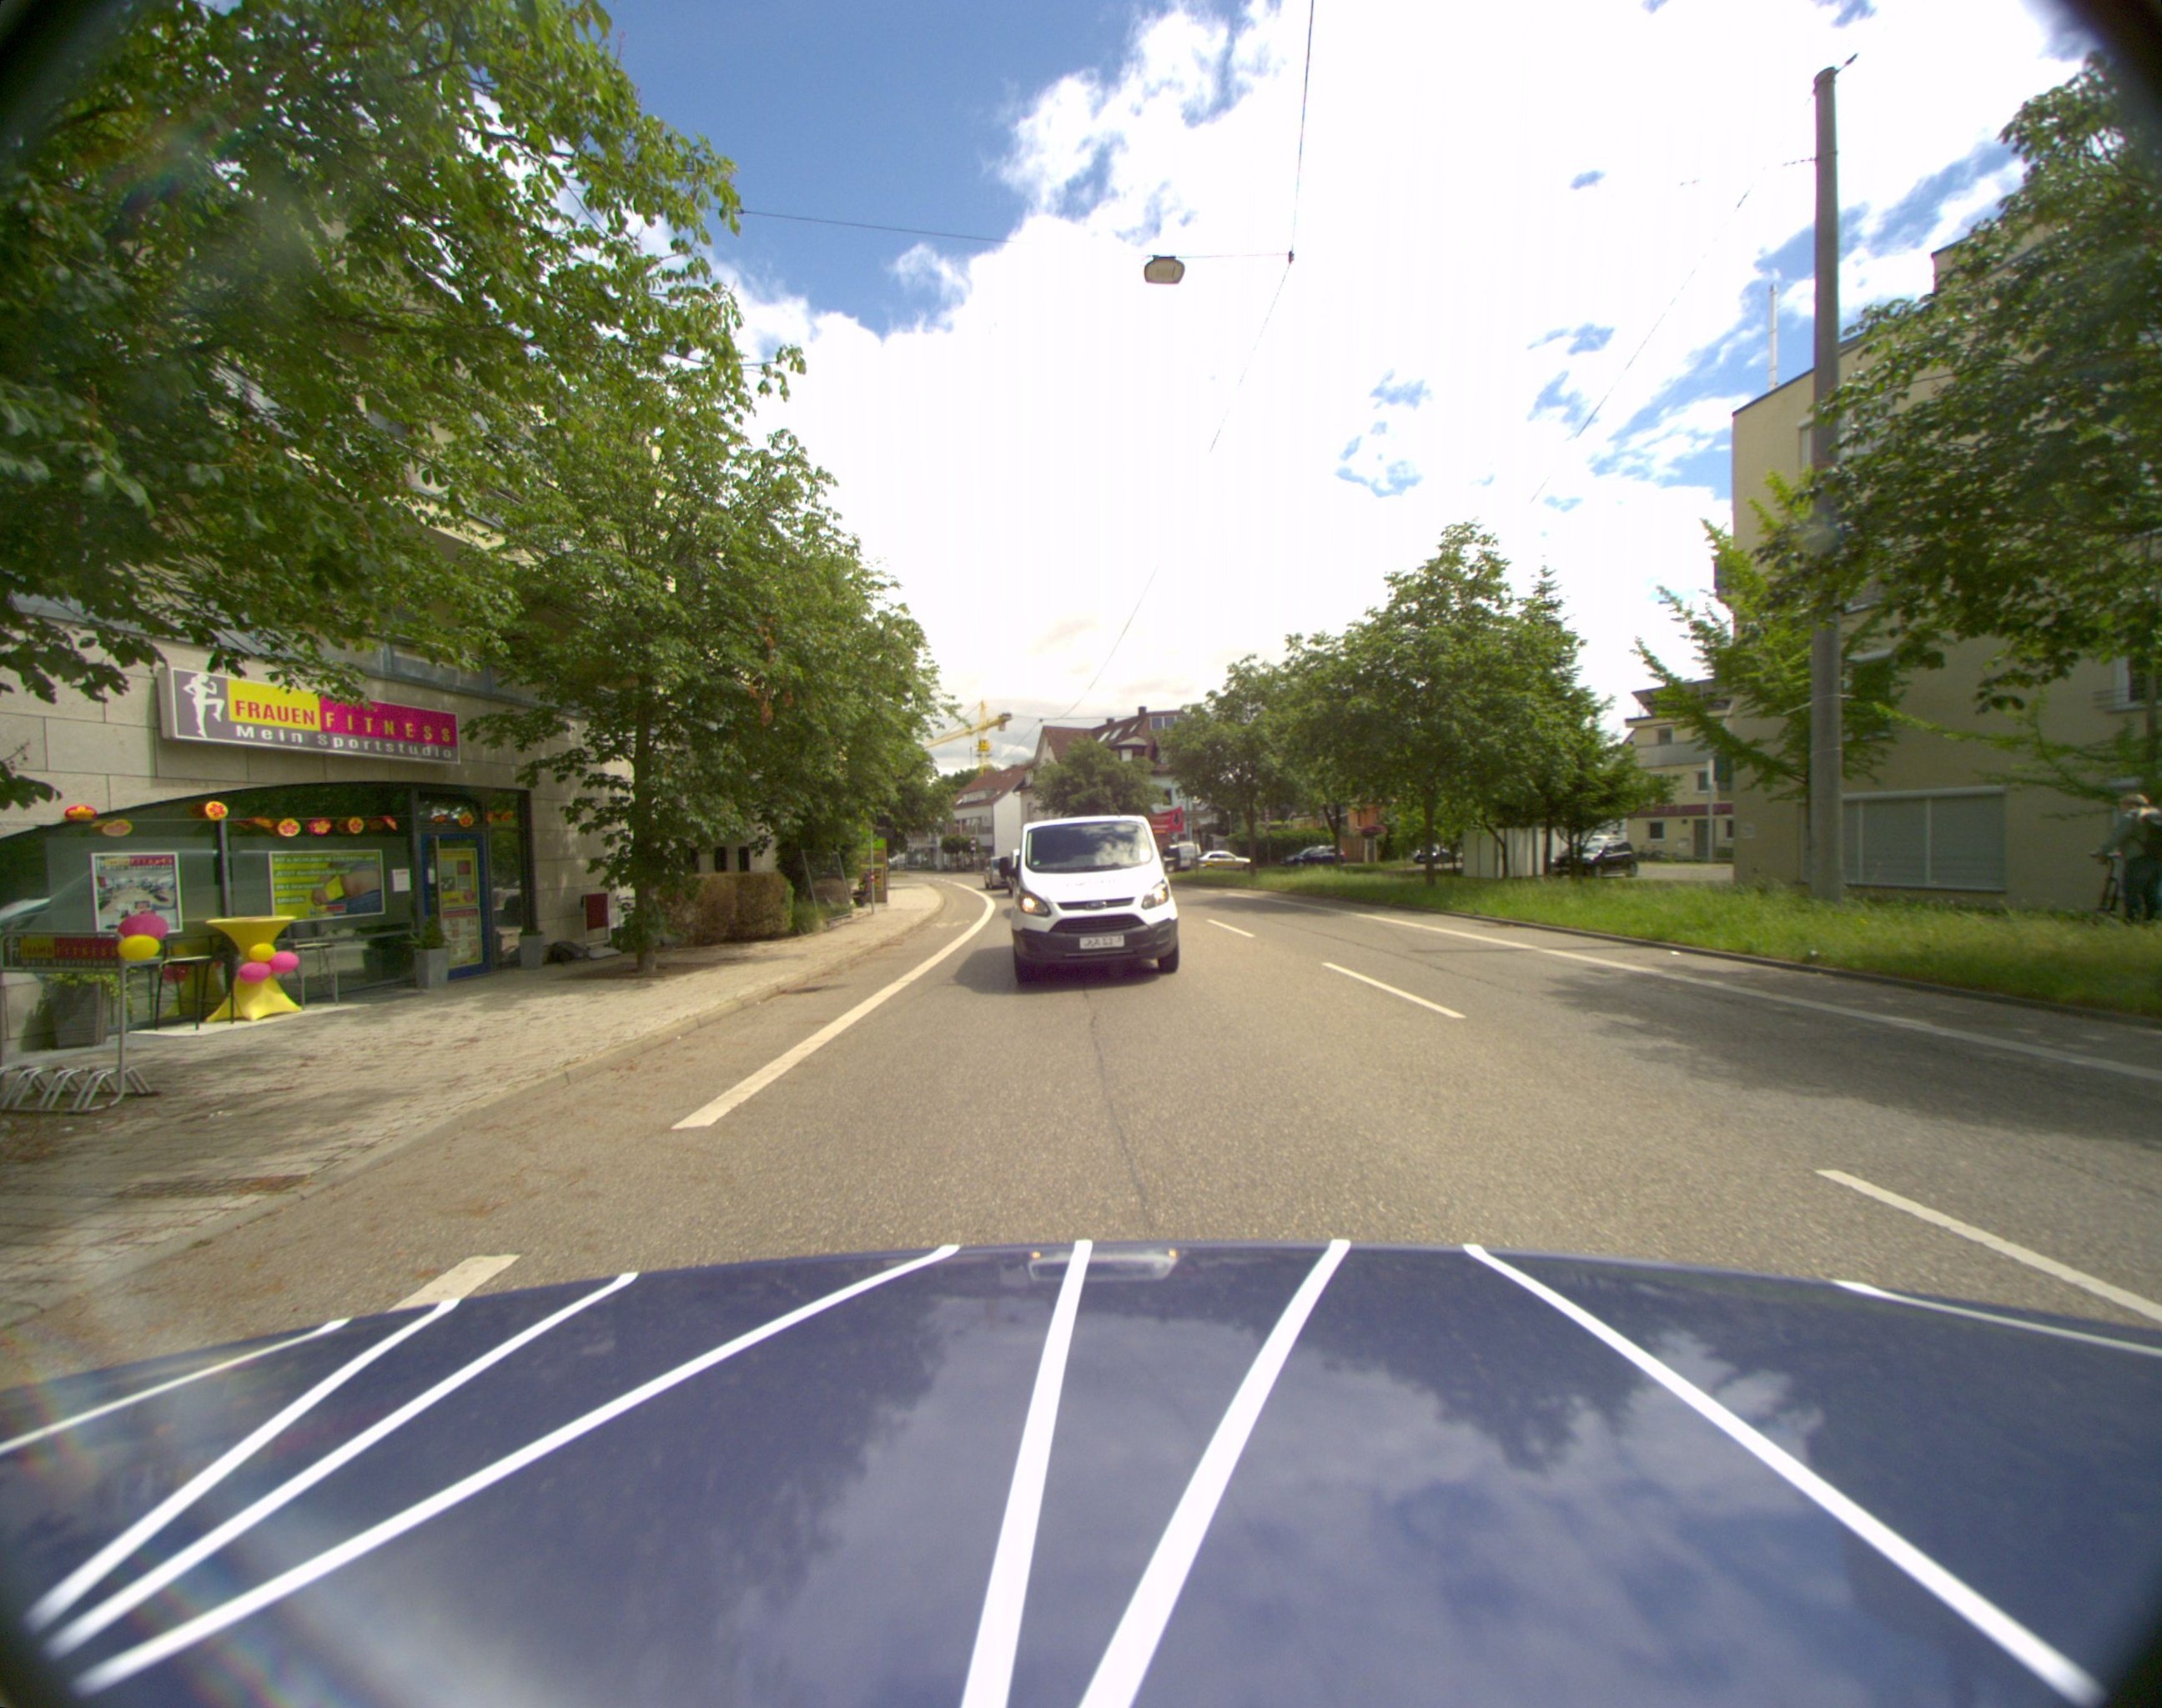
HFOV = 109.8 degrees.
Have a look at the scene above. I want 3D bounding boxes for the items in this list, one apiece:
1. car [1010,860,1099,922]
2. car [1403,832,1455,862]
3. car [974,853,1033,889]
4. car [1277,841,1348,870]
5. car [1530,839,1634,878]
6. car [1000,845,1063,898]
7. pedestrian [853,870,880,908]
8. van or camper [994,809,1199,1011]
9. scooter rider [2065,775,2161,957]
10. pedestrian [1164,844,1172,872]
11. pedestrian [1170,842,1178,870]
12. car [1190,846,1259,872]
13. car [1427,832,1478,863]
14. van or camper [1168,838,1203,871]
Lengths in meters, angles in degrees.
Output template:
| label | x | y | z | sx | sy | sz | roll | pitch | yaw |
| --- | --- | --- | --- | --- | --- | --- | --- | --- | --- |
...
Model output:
| label | x | y | z | sx | sy | sz | roll | pitch | yaw |
| --- | --- | --- | --- | --- | --- | --- | --- | --- | --- |
| car | -0.822 | 0.893 | 20.246 | 1.841 | 1.382 | 3.996 | -2 | 1 | -9 |
| car | 25.073 | -0.518 | 54.689 | 4.007 | 2.002 | 1.976 | -2 | 1 | -43 |
| car | -3.734 | 0.771 | 36.146 | 1.695 | 1.478 | 3.993 | -5 | 2 | -21 |
| car | 14.928 | 0.071 | 49.090 | 3.977 | 1.672 | 1.716 | -2 | 2 | -5 |
| car | 19.192 | 0.167 | 29.086 | 4.007 | 1.411 | 1.789 | 0 | -1 | -31 |
| car | -1.992 | 0.616 | 29.540 | 1.853 | 1.805 | 3.995 | -4 | 2 | -11 |
| pedestrian | -7.611 | 1.225 | 26.951 | 0.731 | 1.293 | 0.753 | -2 | 1 | -2 |
| van or camper | 0.169 | 0.551 | 10.312 | 2.027 | 2.002 | 5.102 | -2 | 1 | 0 |
| scooter rider | 12.261 | 0.110 | 8.787 | 0.678 | 2.002 | 0.794 | -4 | 2 | -2 |
| pedestrian | 6.300 | 0.271 | 55.023 | 0.425 | 2.002 | 0.363 | -4 | 2 | 1 |
| pedestrian | 6.739 | 0.136 | 55.051 | 0.383 | 1.979 | 0.443 | -4 | 2 | -1 |
| car | 9.194 | 0.317 | 48.793 | 4.047 | 1.314 | 1.534 | -5 | 2 | -15 |
| car | 28.148 | -0.488 | 57.522 | 4.006 | 2.002 | 1.995 | -5 | 2 | -41 |
| van or camper | 7.249 | -0.033 | 52.868 | 1.794 | 2.077 | 3.810 | -4 | 2 | 0 |
